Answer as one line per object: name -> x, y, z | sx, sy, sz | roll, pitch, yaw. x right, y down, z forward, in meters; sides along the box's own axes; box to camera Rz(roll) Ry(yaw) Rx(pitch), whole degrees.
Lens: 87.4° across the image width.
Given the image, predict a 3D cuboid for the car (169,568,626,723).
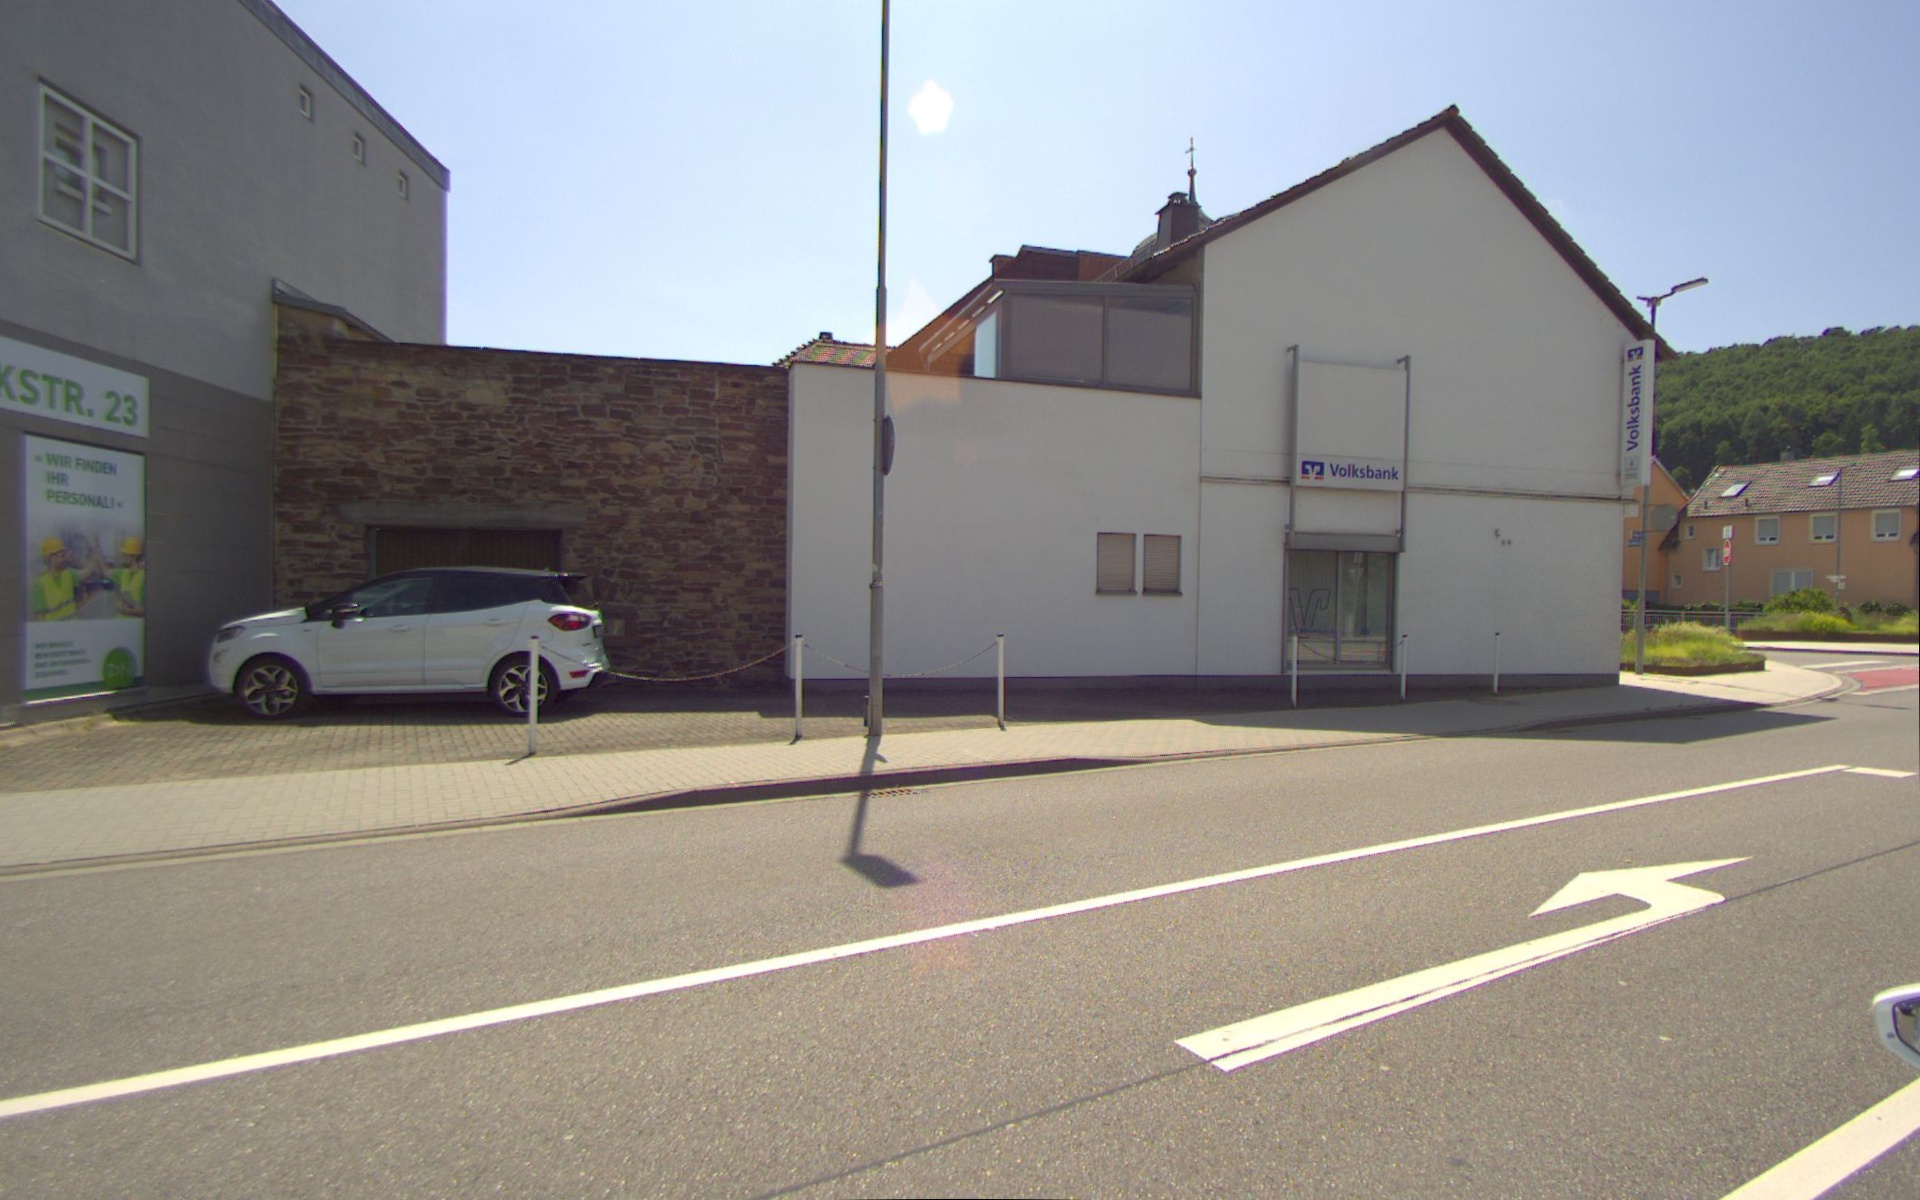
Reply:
car -> -6.215, 0.481, 11.646 | 4.177, 1.596, 1.996 | 0, 0, -10
